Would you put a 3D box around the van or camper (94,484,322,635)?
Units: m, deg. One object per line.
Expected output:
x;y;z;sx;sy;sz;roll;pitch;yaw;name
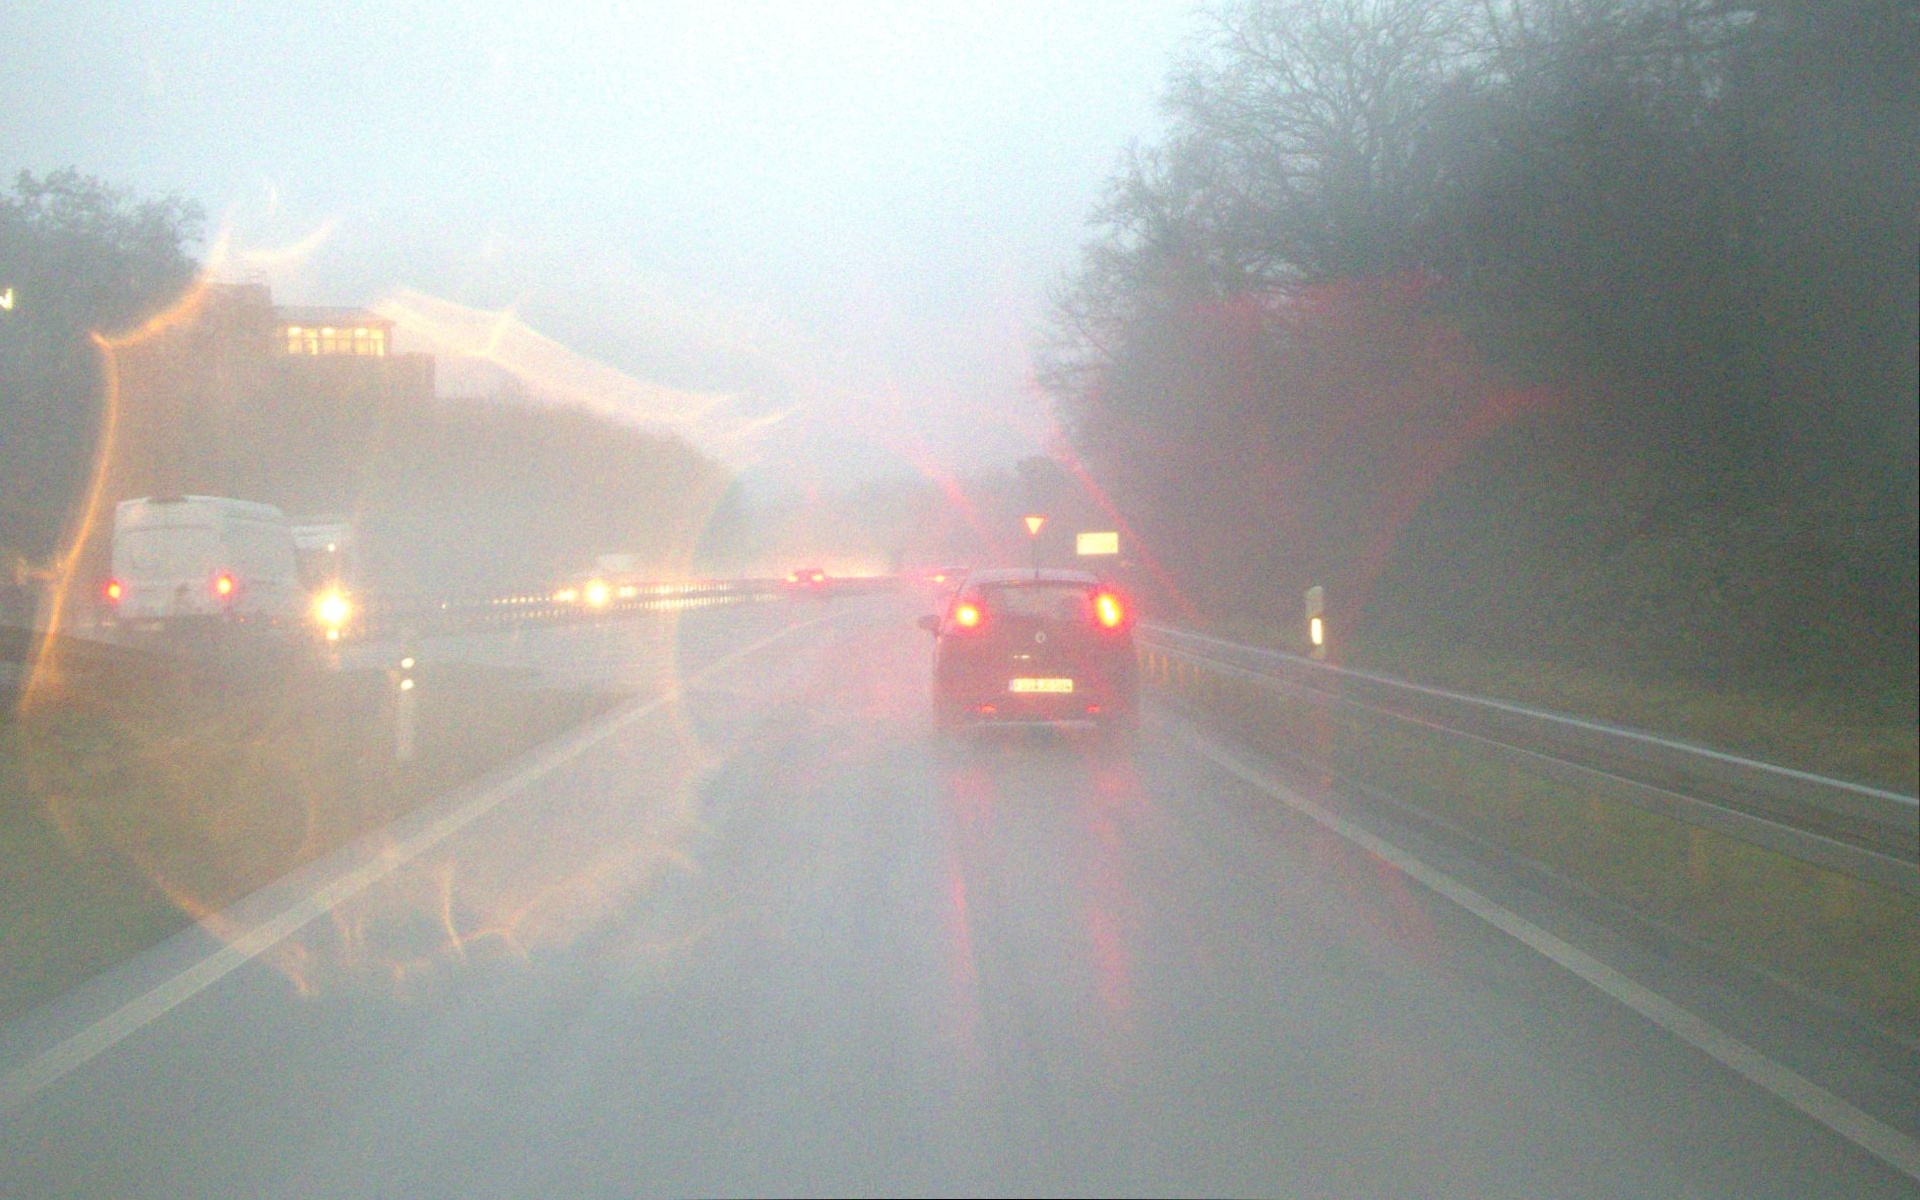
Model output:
-12.533;-0.669;57.712;2.268;2.405;5.579;0;0;4;van or camper

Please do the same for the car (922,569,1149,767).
0.649;0.544;30.277;1.732;1.424;3.765;6;1;1;car
